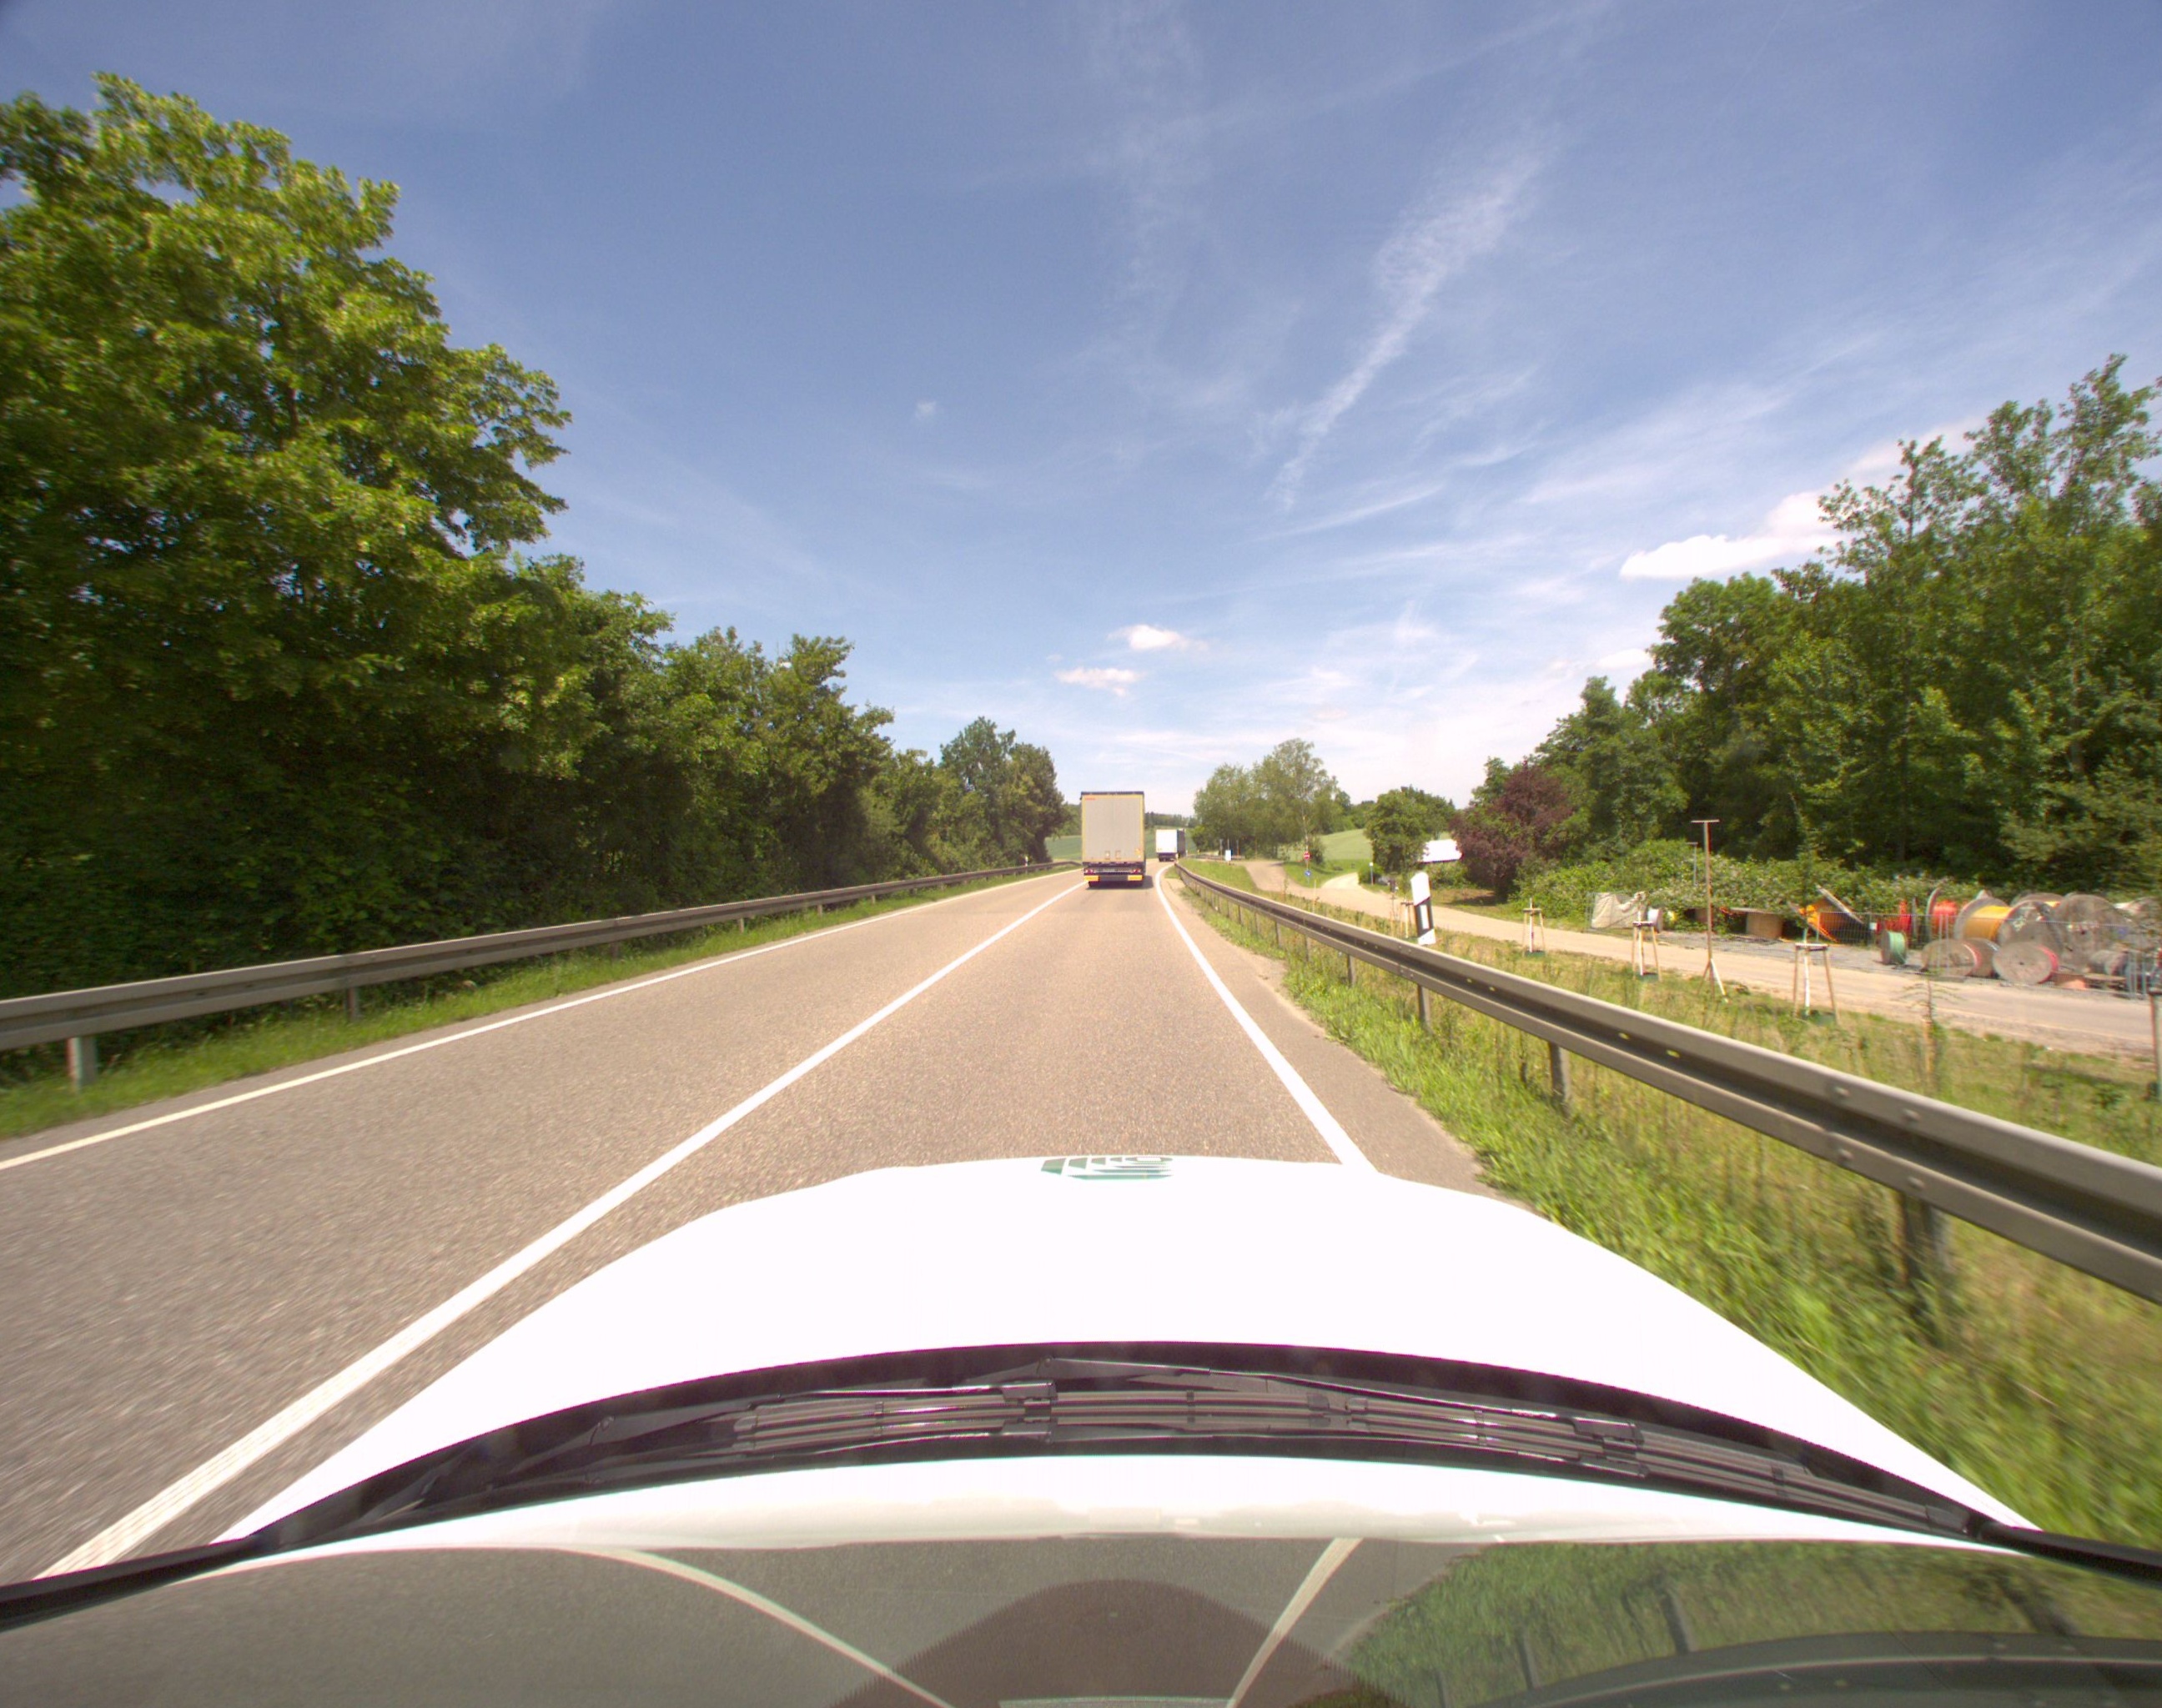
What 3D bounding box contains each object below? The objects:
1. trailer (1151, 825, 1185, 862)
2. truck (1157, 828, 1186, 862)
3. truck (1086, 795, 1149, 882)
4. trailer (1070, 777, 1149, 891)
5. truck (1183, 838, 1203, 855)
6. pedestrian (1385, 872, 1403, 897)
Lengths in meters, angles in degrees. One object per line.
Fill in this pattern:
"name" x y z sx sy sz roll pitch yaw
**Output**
"trailer" 11.396 -1.222 105.277 3.345 4.317 13.900 -2 -1 9
"truck" 12.411 -1.139 111.232 3.345 4.317 6.757 -2 -1 9
"truck" 2.194 -0.824 46.082 3.103 4.494 6.821 -1 0 5
"trailer" 1.666 -0.812 39.678 3.104 4.499 13.902 -1 0 4
"truck" 24.614 -1.574 179.031 3.200 3.365 11.917 -2 -1 13
"pedestrian" 23.821 2.339 61.990 0.881 1.811 0.960 -4 0 2
